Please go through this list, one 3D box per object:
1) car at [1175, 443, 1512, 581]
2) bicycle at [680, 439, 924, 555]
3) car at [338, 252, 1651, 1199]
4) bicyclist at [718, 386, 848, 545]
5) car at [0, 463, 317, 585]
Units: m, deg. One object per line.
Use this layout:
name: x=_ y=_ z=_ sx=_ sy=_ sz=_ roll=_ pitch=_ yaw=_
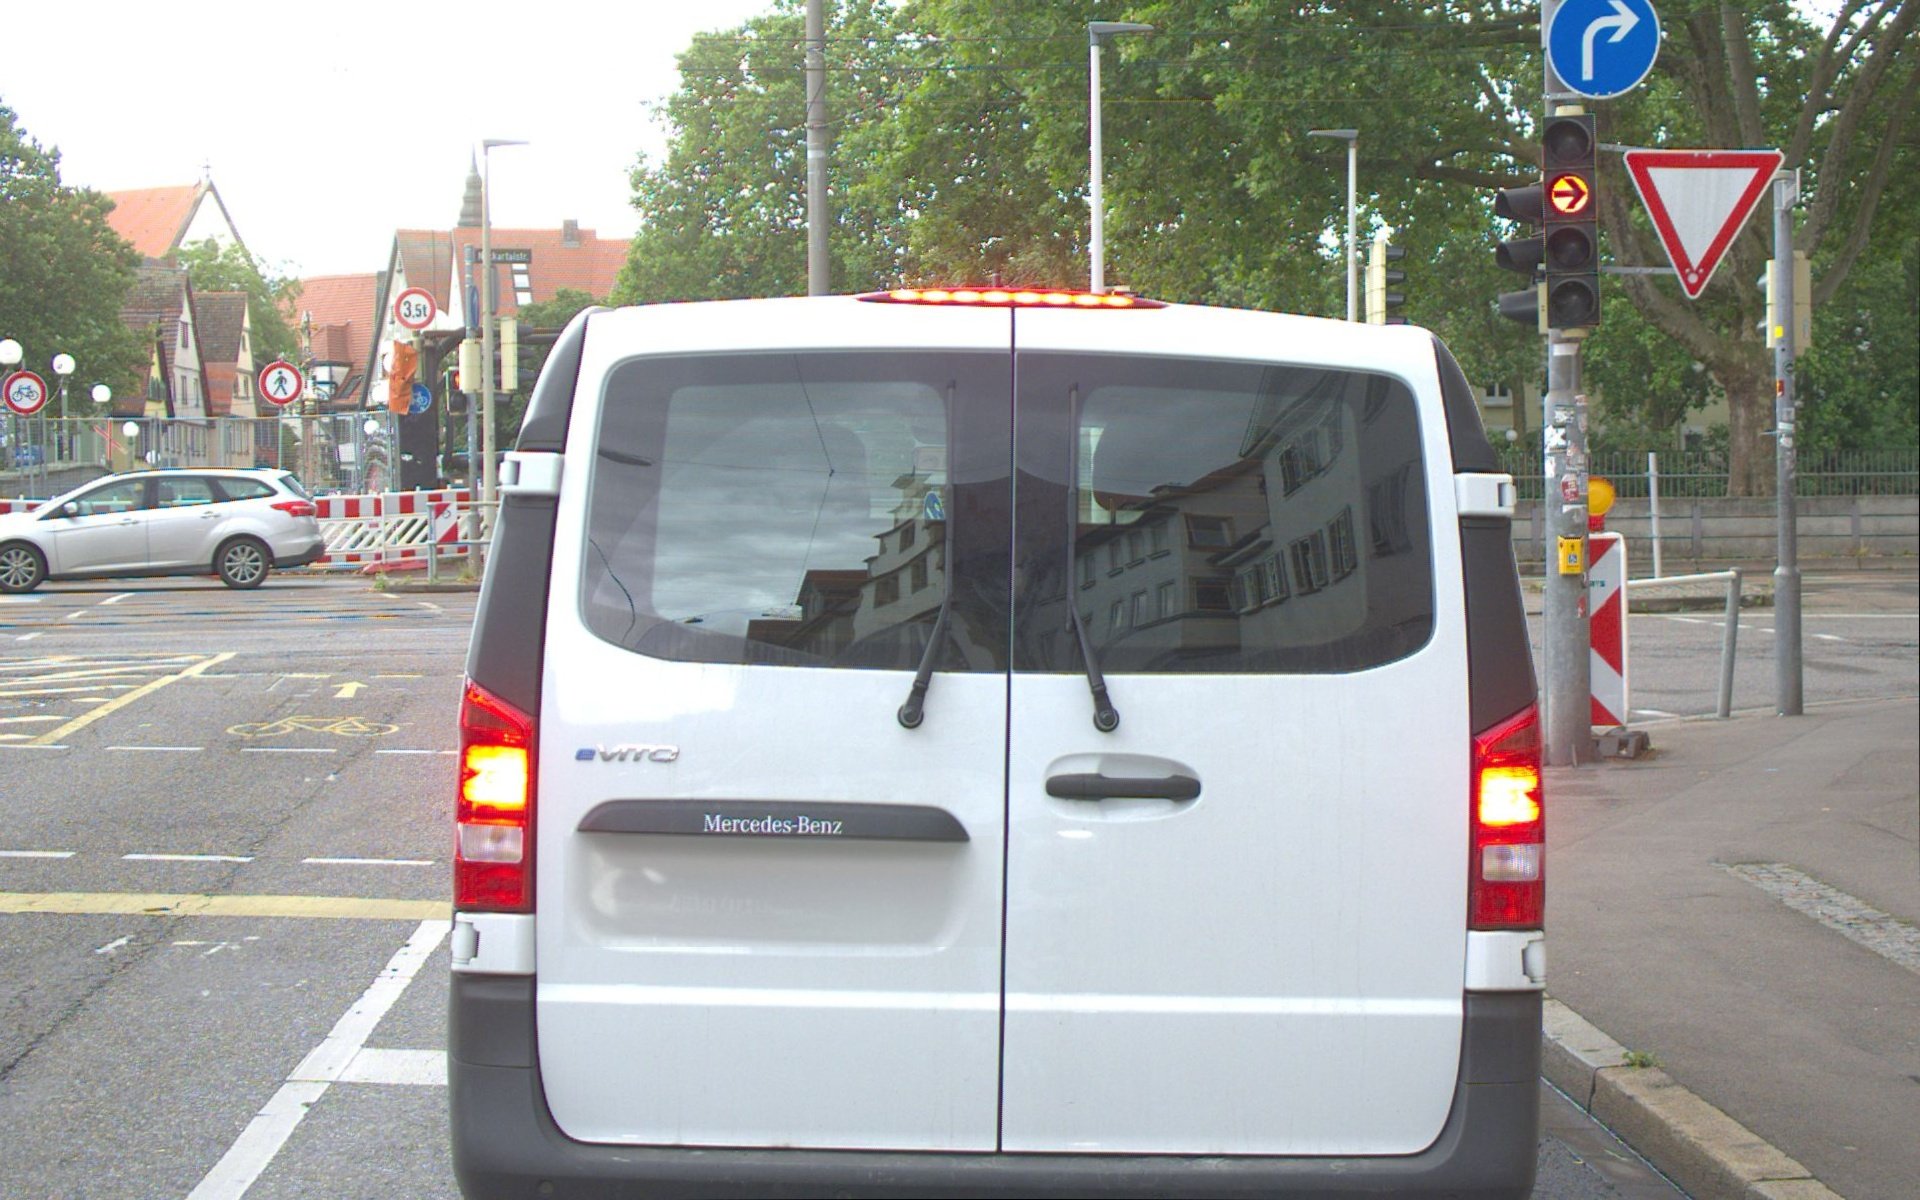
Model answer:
car: x=4.992 y=-1.129 z=45.014 sx=3.986 sy=1.734 sz=2.000 roll=0 pitch=0 yaw=-10
bicycle: x=-2.198 y=-1.426 z=47.548 sx=3.144 sy=1.564 sz=1.471 roll=-1 pitch=1 yaw=-14
car: x=-0.001 y=0.335 z=7.391 sx=1.993 sy=1.916 sz=4.250 roll=1 pitch=3 yaw=-1
bicyclist: x=-2.453 y=-1.841 z=47.384 sx=1.563 sy=2.148 sz=1.248 roll=-1 pitch=1 yaw=-14
car: x=-10.031 y=-0.932 z=41.919 sx=4.274 sy=1.447 sz=1.900 roll=0 pitch=1 yaw=-11
